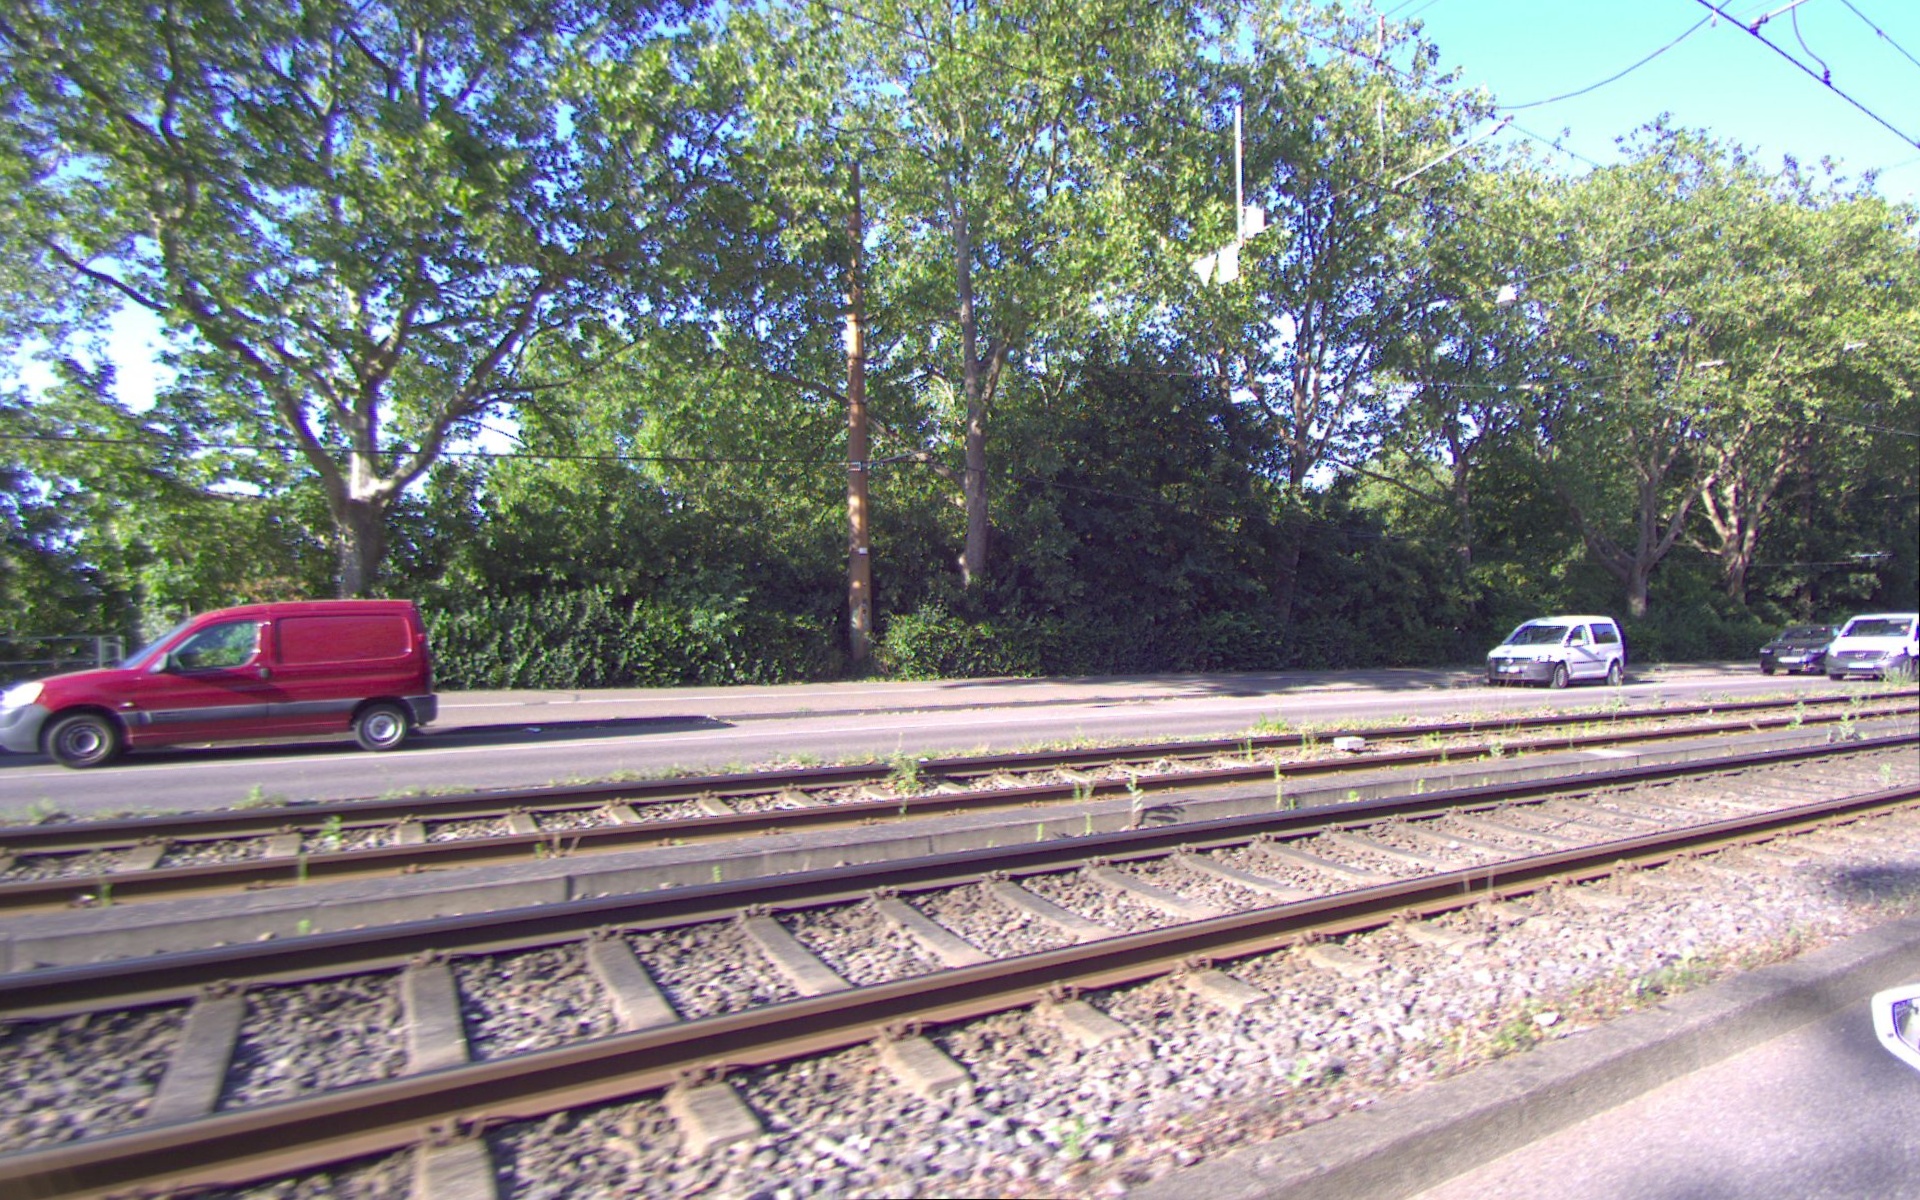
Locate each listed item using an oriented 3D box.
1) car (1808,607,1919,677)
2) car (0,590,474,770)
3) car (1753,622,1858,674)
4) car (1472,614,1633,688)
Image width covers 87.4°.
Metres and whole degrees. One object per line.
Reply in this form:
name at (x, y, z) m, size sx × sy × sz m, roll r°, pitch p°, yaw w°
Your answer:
car at (26.926, 1.221, 29.112) m, size 5.241 × 1.868 × 1.984 m, roll 1°, pitch -3°, yaw -32°
car at (-8.281, 0.808, 11.668) m, size 4.630 × 1.777 × 1.733 m, roll 0°, pitch 0°, yaw -31°
car at (28.412, 1.565, 33.721) m, size 3.960 × 1.658 × 1.730 m, roll 1°, pitch -1°, yaw -35°
car at (15.455, 1.298, 26.135) m, size 4.465 × 1.766 × 1.732 m, roll 0°, pitch -4°, yaw -33°
